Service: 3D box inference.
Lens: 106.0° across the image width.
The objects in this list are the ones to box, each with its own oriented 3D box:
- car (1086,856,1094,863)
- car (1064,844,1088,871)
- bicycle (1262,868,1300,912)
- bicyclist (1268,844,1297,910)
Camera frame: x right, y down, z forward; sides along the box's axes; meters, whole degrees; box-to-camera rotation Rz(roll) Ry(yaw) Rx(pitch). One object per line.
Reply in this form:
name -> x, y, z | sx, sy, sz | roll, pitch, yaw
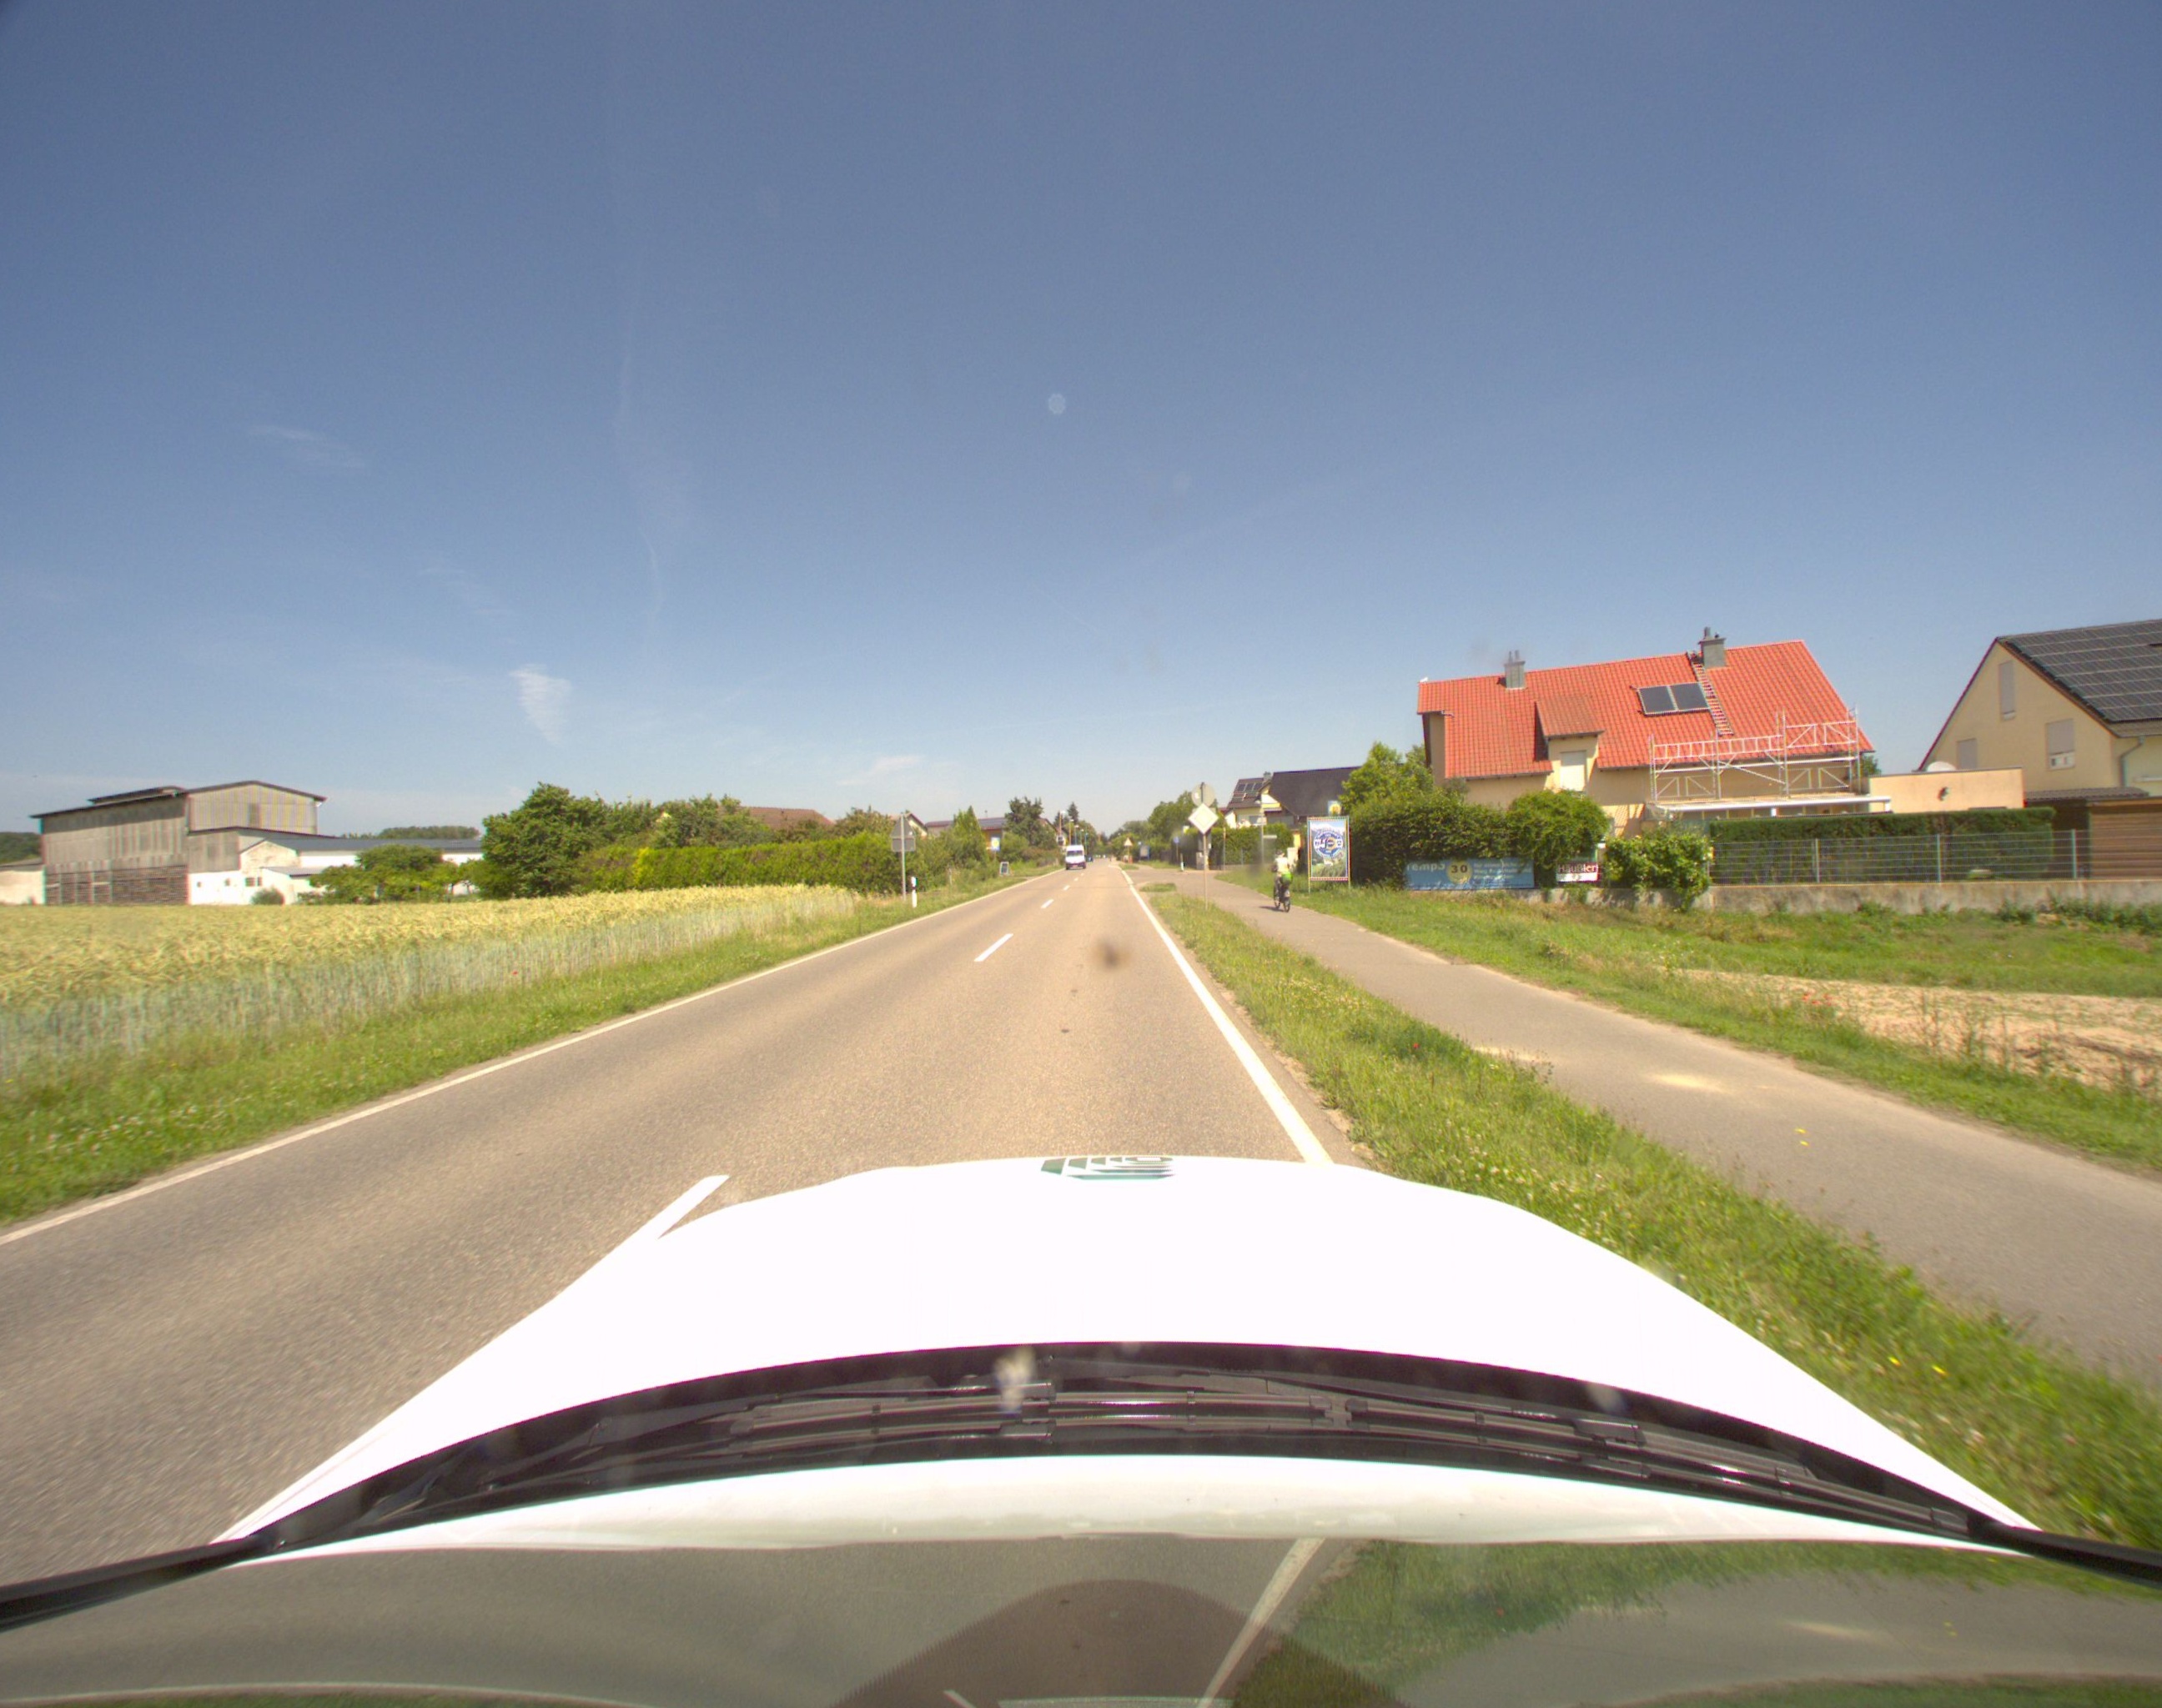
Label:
car -> 2.060, 1.286, 192.520 | 1.753, 1.385, 3.453 | -3, 0, 1
car -> -0.478, 0.331, 84.716 | 2.069, 2.542, 5.875 | -3, 0, 1
bicycle -> 5.892, 1.020, 24.054 | 0.608, 1.158, 2.275 | 0, 1, 1
bicyclist -> 5.890, 0.661, 23.838 | 0.642, 1.889, 0.861 | -1, 1, 1
